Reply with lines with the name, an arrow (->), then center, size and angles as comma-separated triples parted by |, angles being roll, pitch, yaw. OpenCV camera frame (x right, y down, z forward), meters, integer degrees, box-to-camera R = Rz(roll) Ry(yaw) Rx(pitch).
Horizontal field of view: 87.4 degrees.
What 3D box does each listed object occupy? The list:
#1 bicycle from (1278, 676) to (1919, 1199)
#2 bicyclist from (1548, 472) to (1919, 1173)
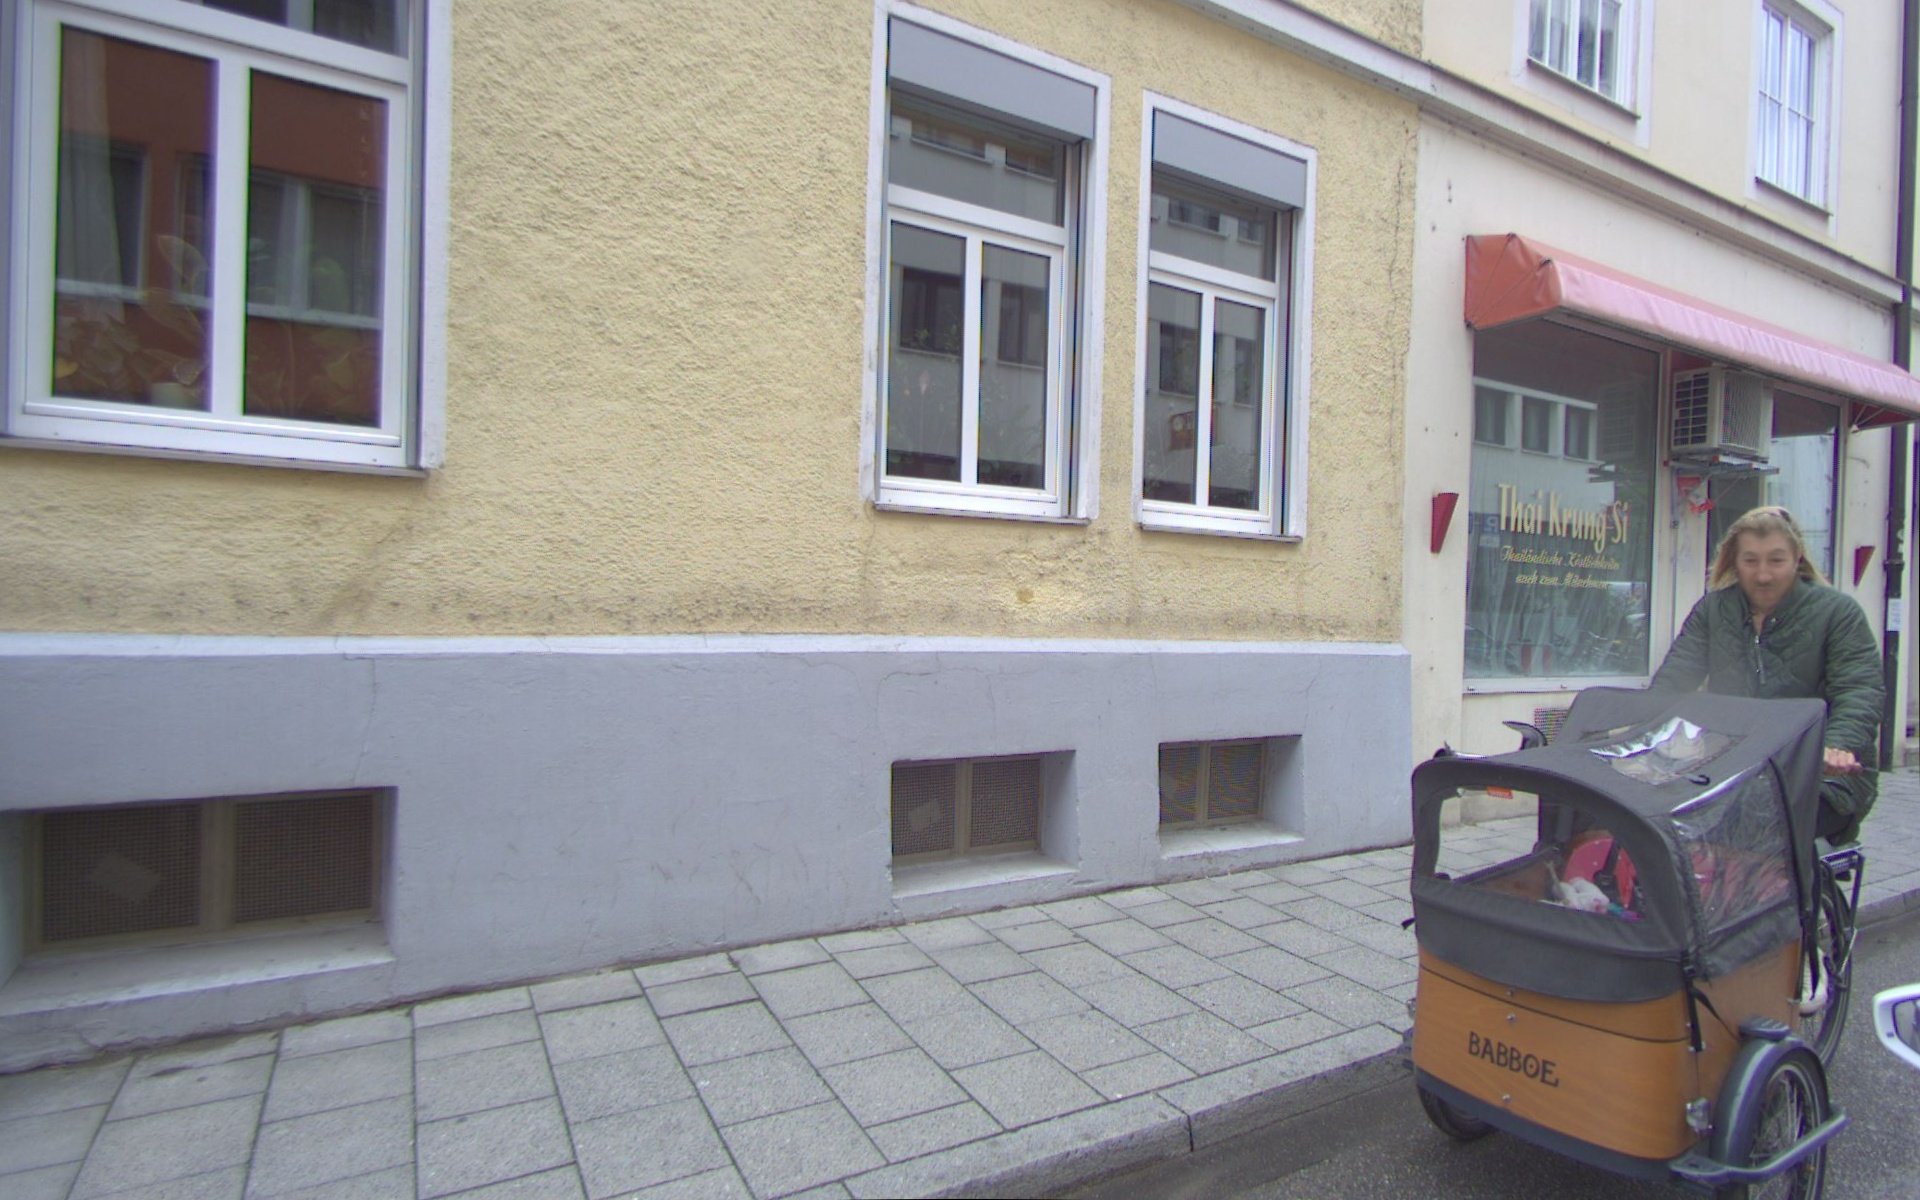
bicycle -> 2.101, 0.888, 2.854 | 2.386, 1.274, 0.927 | 2, -1, -31
bicyclist -> 2.626, 0.566, 3.177 | 1.087, 1.744, 0.921 | 1, -1, -32
